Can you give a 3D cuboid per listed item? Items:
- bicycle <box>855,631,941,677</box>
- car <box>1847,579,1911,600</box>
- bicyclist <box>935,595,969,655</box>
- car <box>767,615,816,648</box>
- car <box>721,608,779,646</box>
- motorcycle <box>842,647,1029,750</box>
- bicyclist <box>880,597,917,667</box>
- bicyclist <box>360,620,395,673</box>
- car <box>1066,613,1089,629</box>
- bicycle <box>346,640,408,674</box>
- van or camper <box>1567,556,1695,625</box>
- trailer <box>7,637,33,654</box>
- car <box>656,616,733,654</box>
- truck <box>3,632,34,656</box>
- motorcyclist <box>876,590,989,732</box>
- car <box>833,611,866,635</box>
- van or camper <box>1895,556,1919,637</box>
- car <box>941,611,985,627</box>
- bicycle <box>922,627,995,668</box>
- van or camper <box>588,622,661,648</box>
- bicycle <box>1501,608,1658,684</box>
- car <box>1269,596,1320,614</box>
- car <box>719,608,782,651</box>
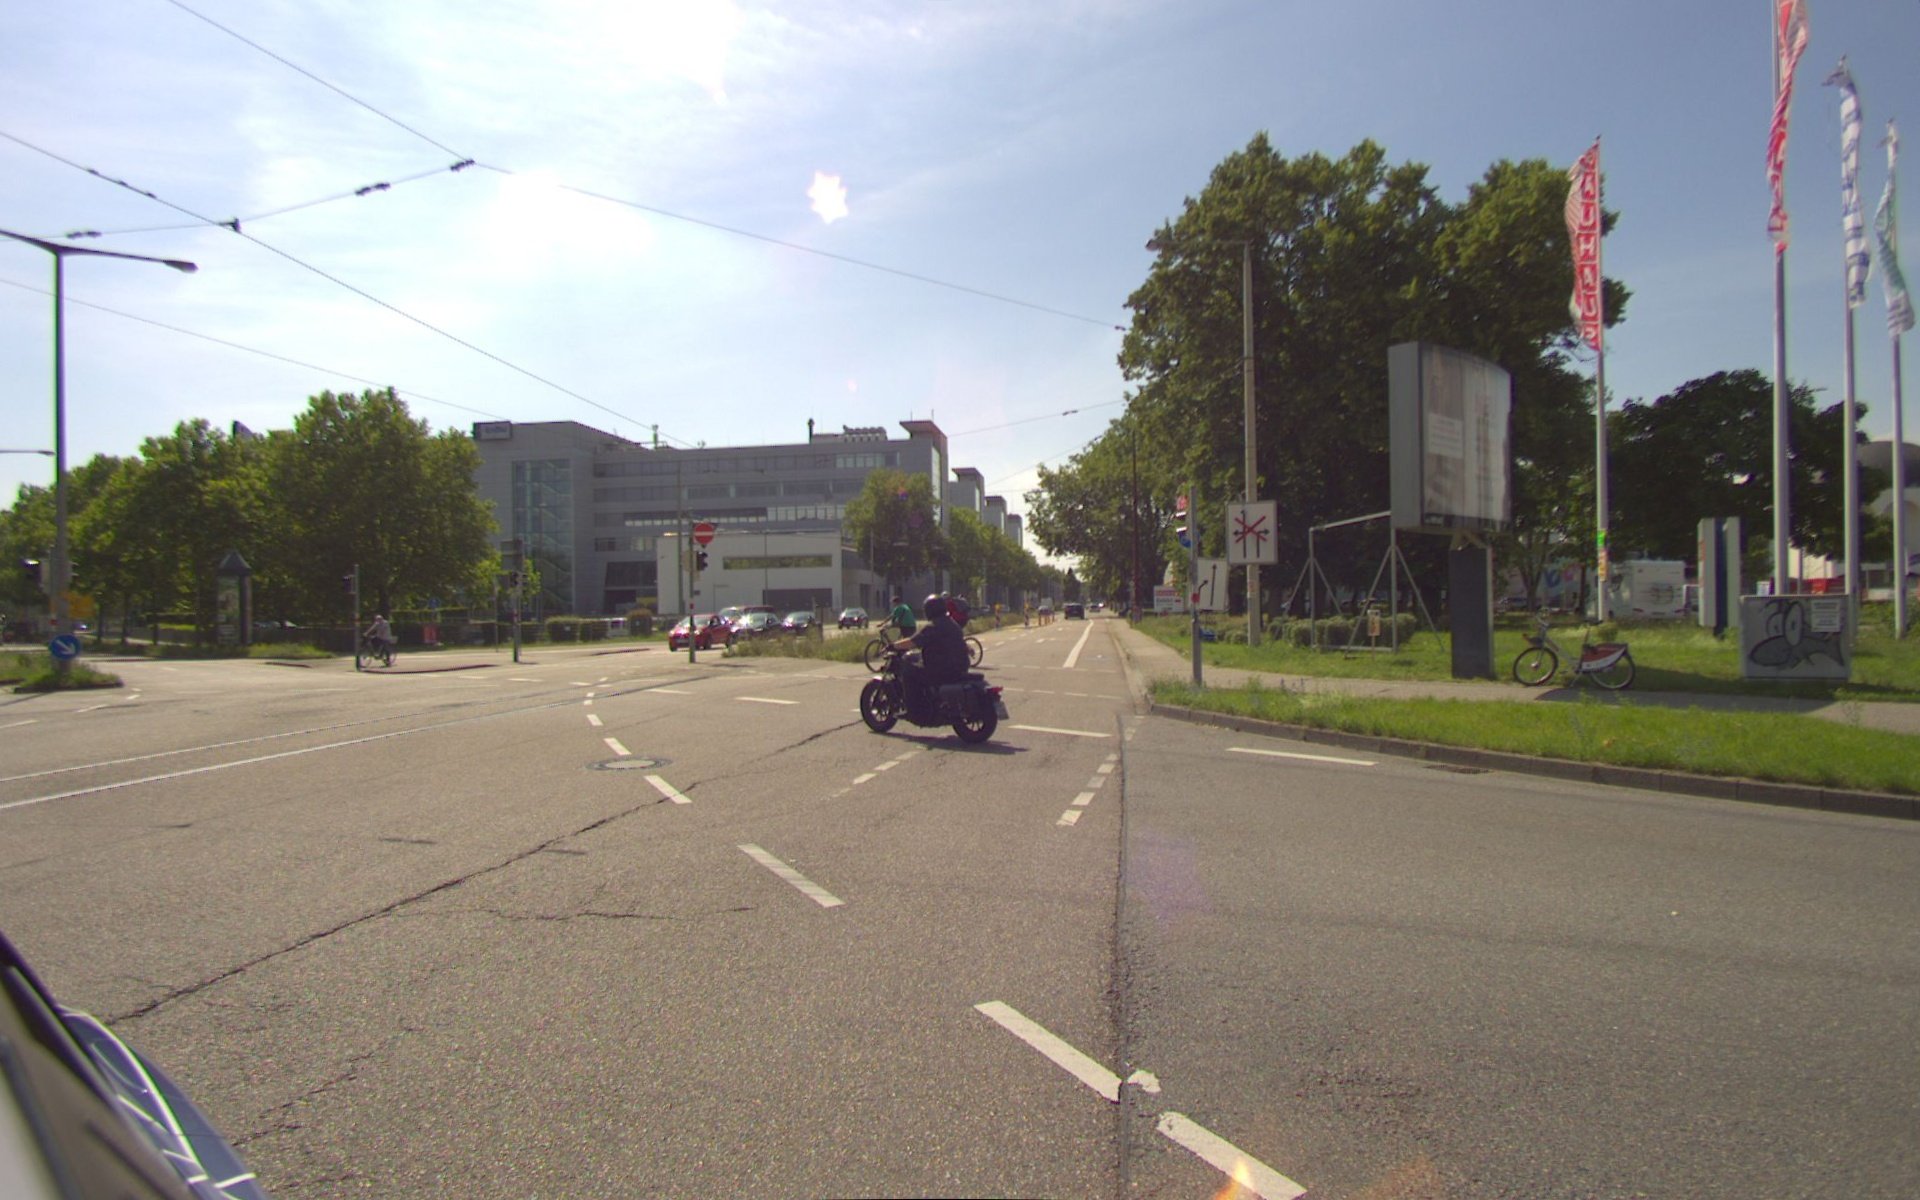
[{"bbox_3d":[-1.378,1.181,22.244,1.990,0.945,0.413,-2,-1,31],"label":"bicycle"},{"bbox_3d":[85.354,-0.929,94.011,3.957,1.807,1.841,-2,-1,11],"label":"car"},{"bbox_3d":[-0.181,0.590,24.197,0.606,1.425,0.524,-2,-1,28],"label":"bicyclist"},{"bbox_3d":[-9.279,1.705,56.122,1.973,1.712,3.998,-2,-1,1],"label":"car"},{"bbox_3d":[-10.169,1.285,49.352,1.972,1.712,4.000,-2,-1,0],"label":"car"},{"bbox_3d":[-0.315,1.046,11.241,2.217,0.999,0.680,-2,-1,43],"label":"motorcycle"},{"bbox_3d":[-1.349,0.693,22.217,0.607,1.503,0.523,-2,-1,31],"label":"bicyclist"},{"bbox_3d":[-20.233,1.594,35.158,0.698,1.802,0.765,-2,-1,13],"label":"bicyclist"},{"bbox_3d":[11.205,1.969,96.378,1.772,1.454,4.205,-2,-1,13],"label":"car"},{"bbox_3d":[-20.236,1.971,35.173,0.520,1.072,2.156,-2,-1,13],"label":"bicycle"},{"bbox_3d":[32.825,-0.439,49.805,2.681,3.124,6.309,-2,0,8],"label":"van or camper"},{"bbox_3d":[-99.387,4.778,107.034,2.037,1.728,3.995,-1,-1,-43],"label":"trailer"},{"bbox_3d":[-11.117,1.452,42.670,1.825,1.460,3.992,-2,-1,7],"label":"car"},{"bbox_3d":[-103.207,4.805,111.022,2.113,2.494,7.140,-1,-1,-40],"label":"truck"},{"bbox_3d":[-0.310,0.651,11.197,0.987,1.481,0.735,-2,-1,43],"label":"motorcyclist"},{"bbox_3d":[-8.349,1.751,77.006,1.973,1.712,3.998,-2,-1,1],"label":"car"},{"bbox_3d":[28.984,-0.163,27.055,5.456,2.226,2.190,-2,-1,9],"label":"van or camper"},{"bbox_3d":[0.272,1.913,100.719,4.157,1.454,1.792,-2,-1,-5],"label":"car"},{"bbox_3d":[-0.043,1.137,24.130,1.743,0.945,0.431,-2,-1,28],"label":"bicycle"},{"bbox_3d":[-23.760,2.485,71.687,4.456,1.704,1.997,-2,-1,5],"label":"van or camper"},{"bbox_3d":[9.168,0.658,15.050,0.586,1.045,1.900,-1,-1,-33],"label":"bicycle"},{"bbox_3d":[32.091,0.473,97.233,4.335,1.576,1.869,-2,-1,11],"label":"car"},{"bbox_3d":[-11.912,1.626,57.799,2.125,2.295,5.033,-2,-1,5],"label":"car"}]
